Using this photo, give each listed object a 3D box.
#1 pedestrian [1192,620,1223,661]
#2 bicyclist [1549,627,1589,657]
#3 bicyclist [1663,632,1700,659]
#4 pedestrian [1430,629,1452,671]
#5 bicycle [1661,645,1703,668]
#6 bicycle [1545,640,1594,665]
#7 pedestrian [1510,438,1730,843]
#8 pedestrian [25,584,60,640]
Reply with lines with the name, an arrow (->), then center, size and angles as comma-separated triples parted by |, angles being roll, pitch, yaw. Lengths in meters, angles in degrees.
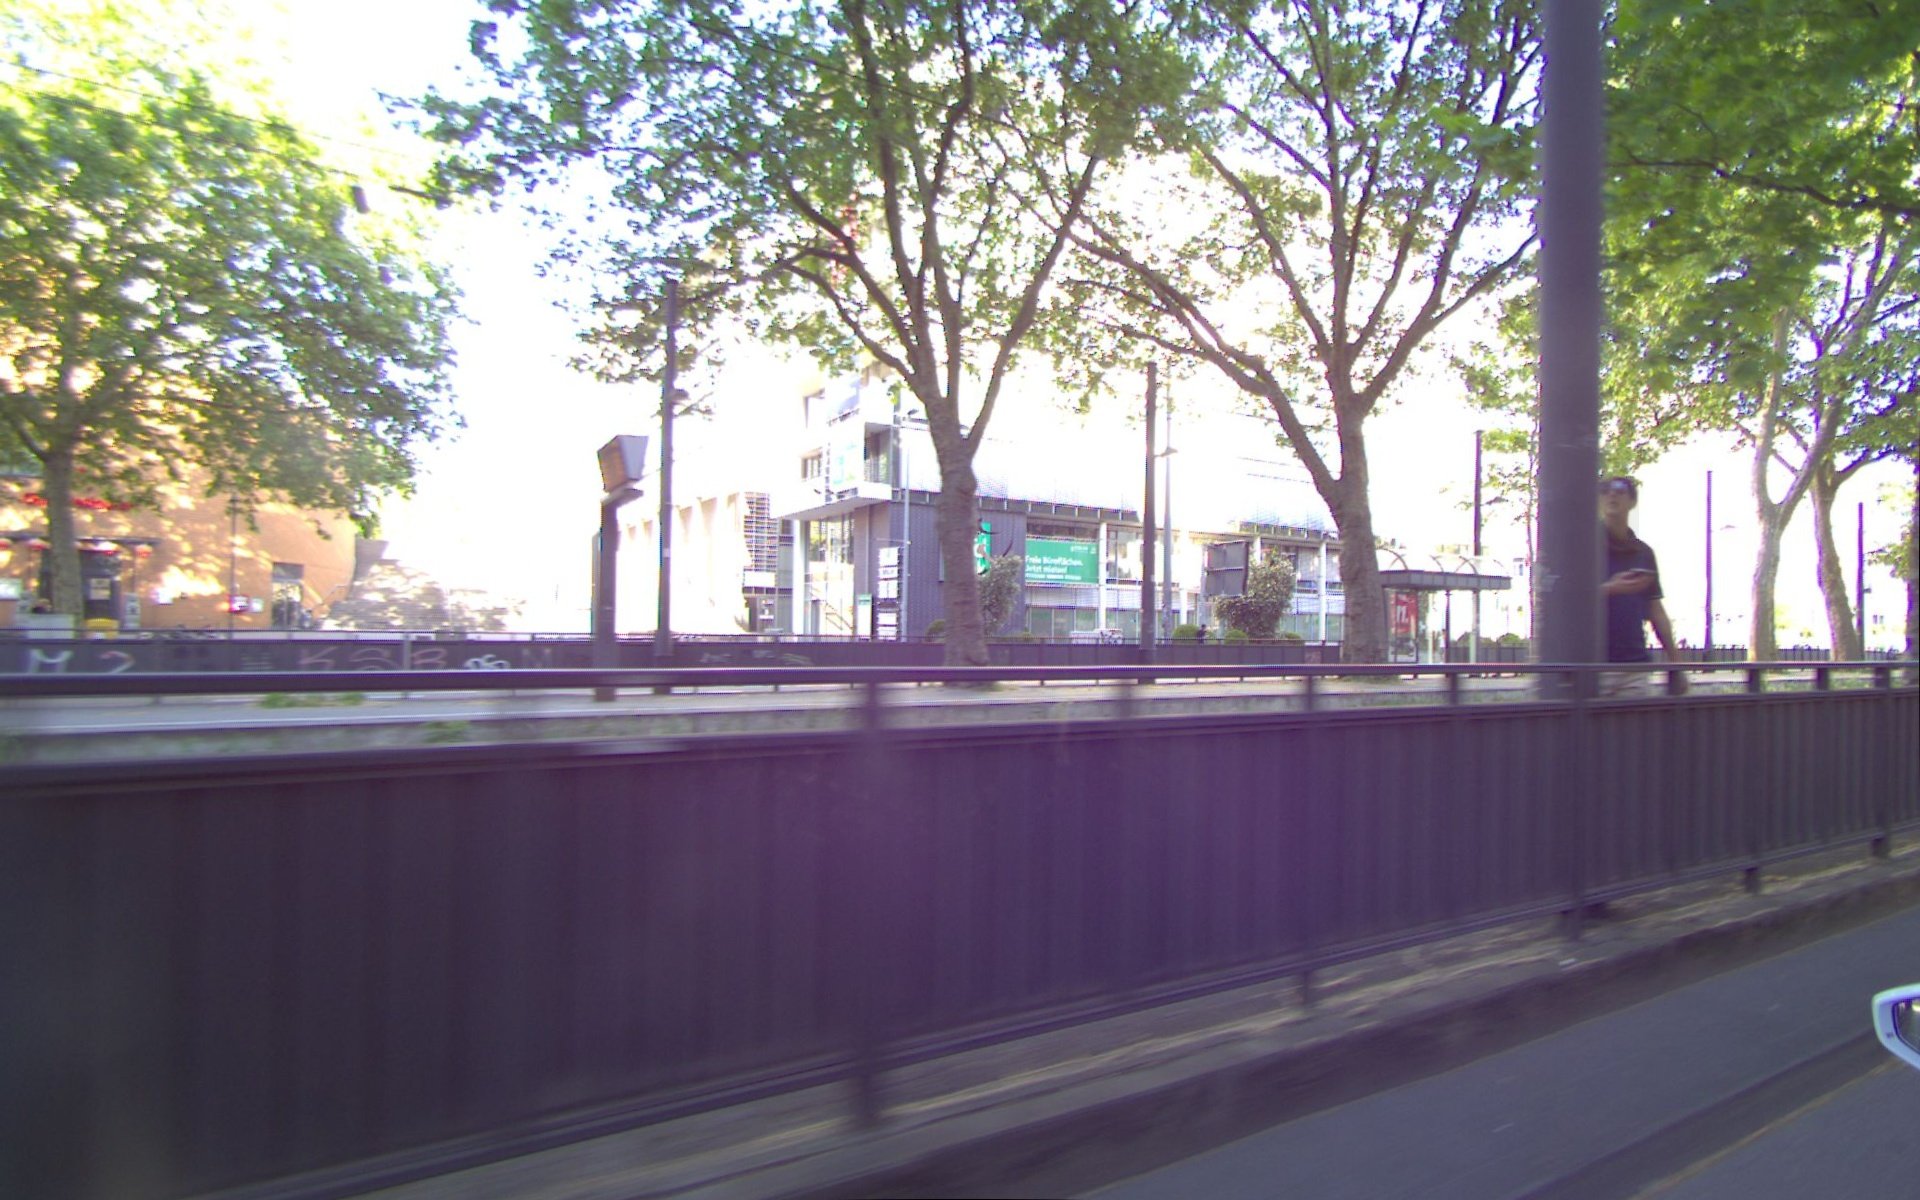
pedestrian -> 9.894, 1.608, 40.160 | 0.759, 1.613, 0.901 | 2, -2, -31
bicyclist -> 26.216, 1.799, 43.240 | 1.359, 1.267, 0.998 | 1, 0, -33
bicyclist -> 35.177, 2.228, 48.976 | 1.359, 1.267, 0.998 | 1, 0, -33
pedestrian -> 23.076, 2.382, 48.191 | 0.825, 2.003, 0.602 | 1, 0, -33
bicycle -> 35.219, 2.748, 49.013 | 2.558, 1.010, 0.795 | 1, 0, -34
bicycle -> 26.245, 2.229, 43.251 | 2.558, 1.010, 0.795 | 1, 0, -34
pedestrian -> 3.323, 0.194, 5.061 | 0.820, 1.826, 0.701 | 2, -1, -38
pedestrian -> -27.118, 0.354, 29.704 | 0.572, 1.625, 0.576 | 2, -1, -26
